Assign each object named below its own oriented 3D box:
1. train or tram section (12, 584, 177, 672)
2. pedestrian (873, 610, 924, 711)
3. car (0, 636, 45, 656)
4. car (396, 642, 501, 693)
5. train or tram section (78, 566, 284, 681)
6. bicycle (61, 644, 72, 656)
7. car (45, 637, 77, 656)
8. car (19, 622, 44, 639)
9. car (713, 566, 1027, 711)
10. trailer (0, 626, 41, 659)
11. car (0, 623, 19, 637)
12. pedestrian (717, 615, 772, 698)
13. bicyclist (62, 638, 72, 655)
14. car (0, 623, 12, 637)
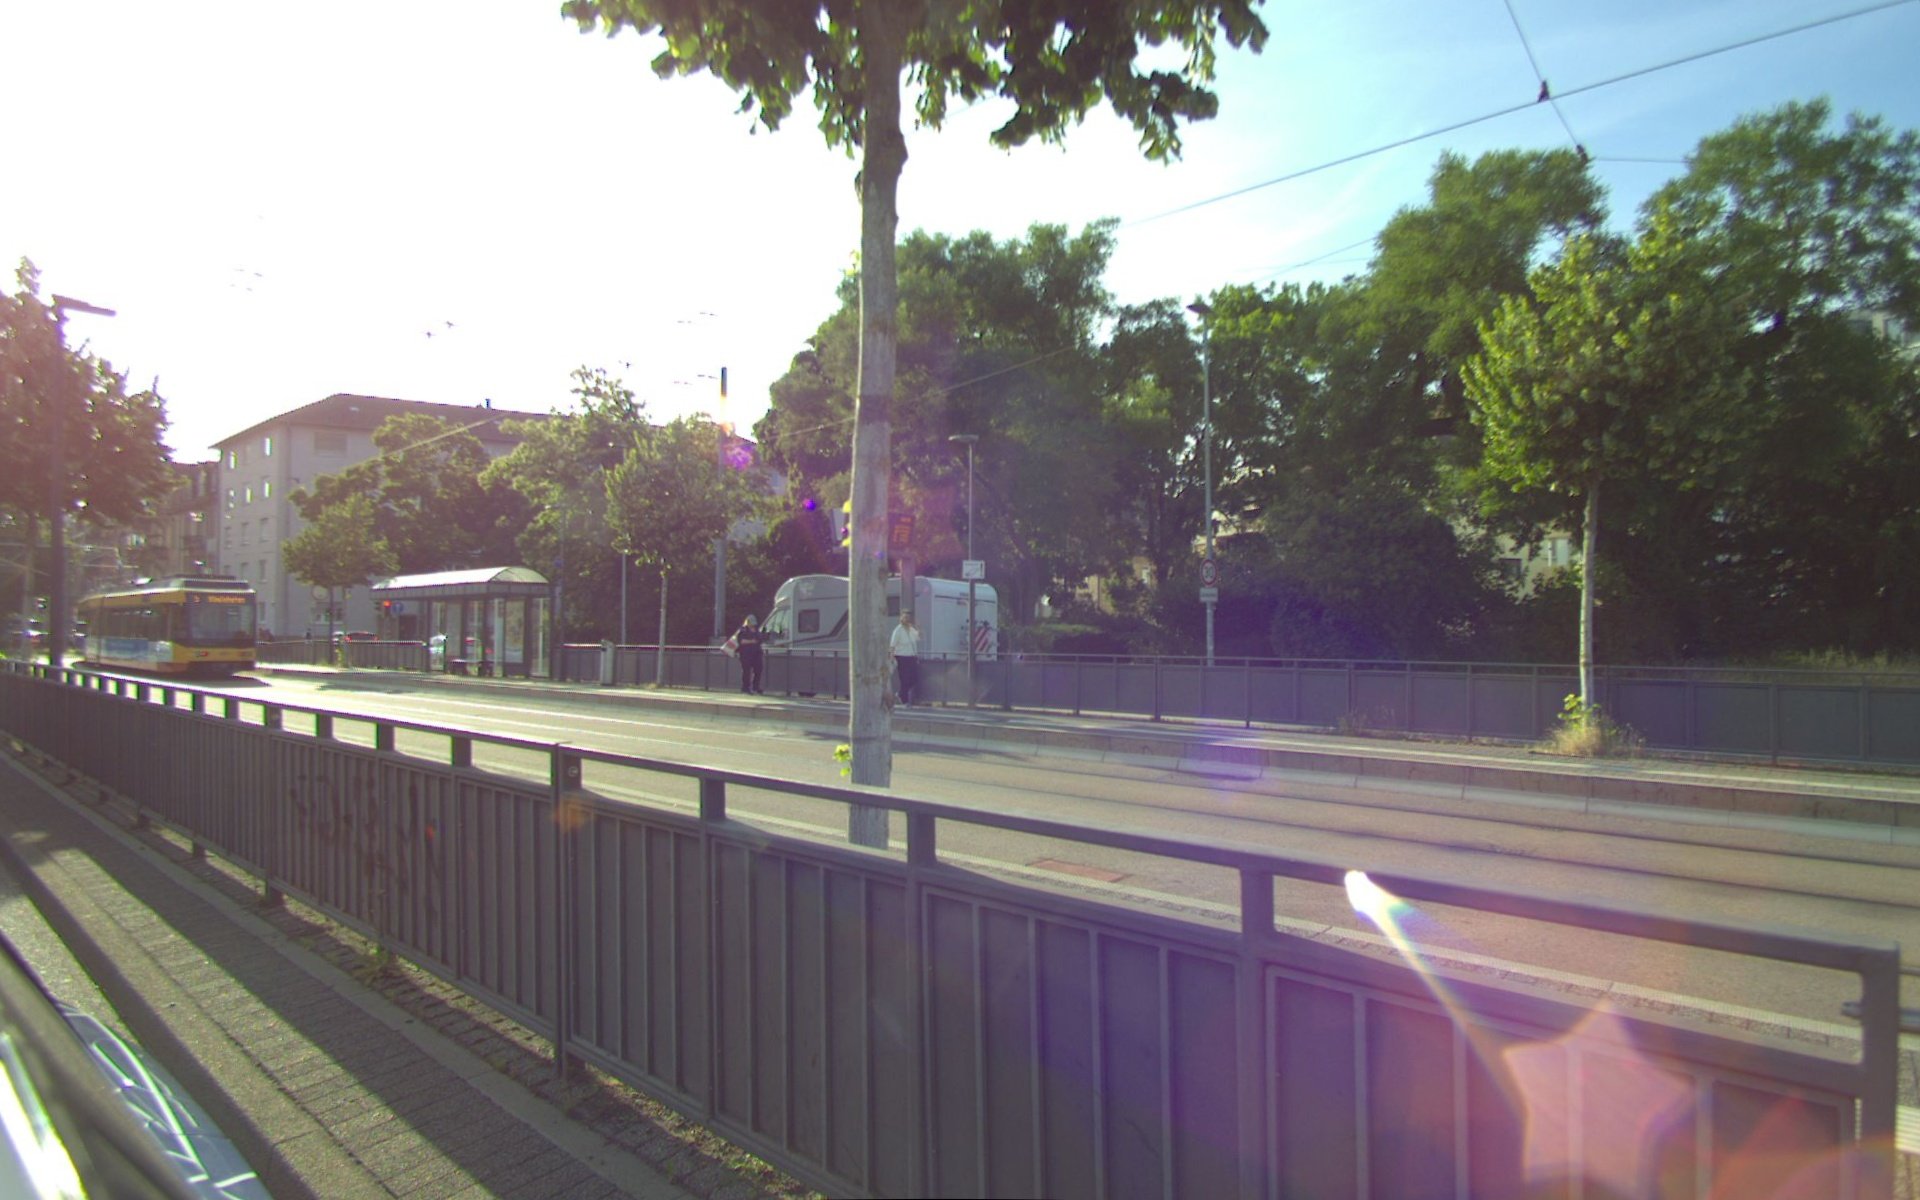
[{"bbox_3d":[-39.705,1.339,46.099,14.515,3.506,3.131,-2,-2,39],"label":"train or tram section"},{"bbox_3d":[-1.024,1.007,16.955,0.606,1.654,0.576,-2,-5,36],"label":"pedestrian"},{"bbox_3d":[-67.806,3.249,71.838,3.888,1.370,1.677,1,-2,-11],"label":"car"},{"bbox_3d":[-18.555,2.401,36.663,3.997,1.697,1.973,-2,-2,40],"label":"car"},{"bbox_3d":[-28.668,0.927,36.766,14.463,3.506,3.129,-2,-2,41],"label":"train or tram section"},{"bbox_3d":[-77.682,4.322,87.970,2.251,1.026,0.536,-2,-2,45],"label":"bicycle"},{"bbox_3d":[-93.930,4.800,105.691,4.611,1.915,2.141,-2,-2,44],"label":"car"},{"bbox_3d":[-118.255,3.905,128.883,3.999,2.029,1.972,-2,-2,42],"label":"car"},{"bbox_3d":[-2.258,0.858,22.734,7.464,2.756,2.569,-2,-2,41],"label":"car"},{"bbox_3d":[-69.720,3.126,74.318,2.817,2.410,1.728,0,-2,-17],"label":"trailer"},{"bbox_3d":[-140.632,4.430,149.659,4.002,2.029,1.971,-2,-2,45],"label":"car"},{"bbox_3d":[-4.378,1.136,20.549,0.859,1.654,0.660,-2,-2,25],"label":"pedestrian"},{"bbox_3d":[-77.631,4.017,87.966,0.643,1.424,0.717,1,-2,-45],"label":"bicyclist"},{"bbox_3d":[-148.889,4.685,157.444,4.002,2.029,1.971,-2,-2,45],"label":"car"}]
